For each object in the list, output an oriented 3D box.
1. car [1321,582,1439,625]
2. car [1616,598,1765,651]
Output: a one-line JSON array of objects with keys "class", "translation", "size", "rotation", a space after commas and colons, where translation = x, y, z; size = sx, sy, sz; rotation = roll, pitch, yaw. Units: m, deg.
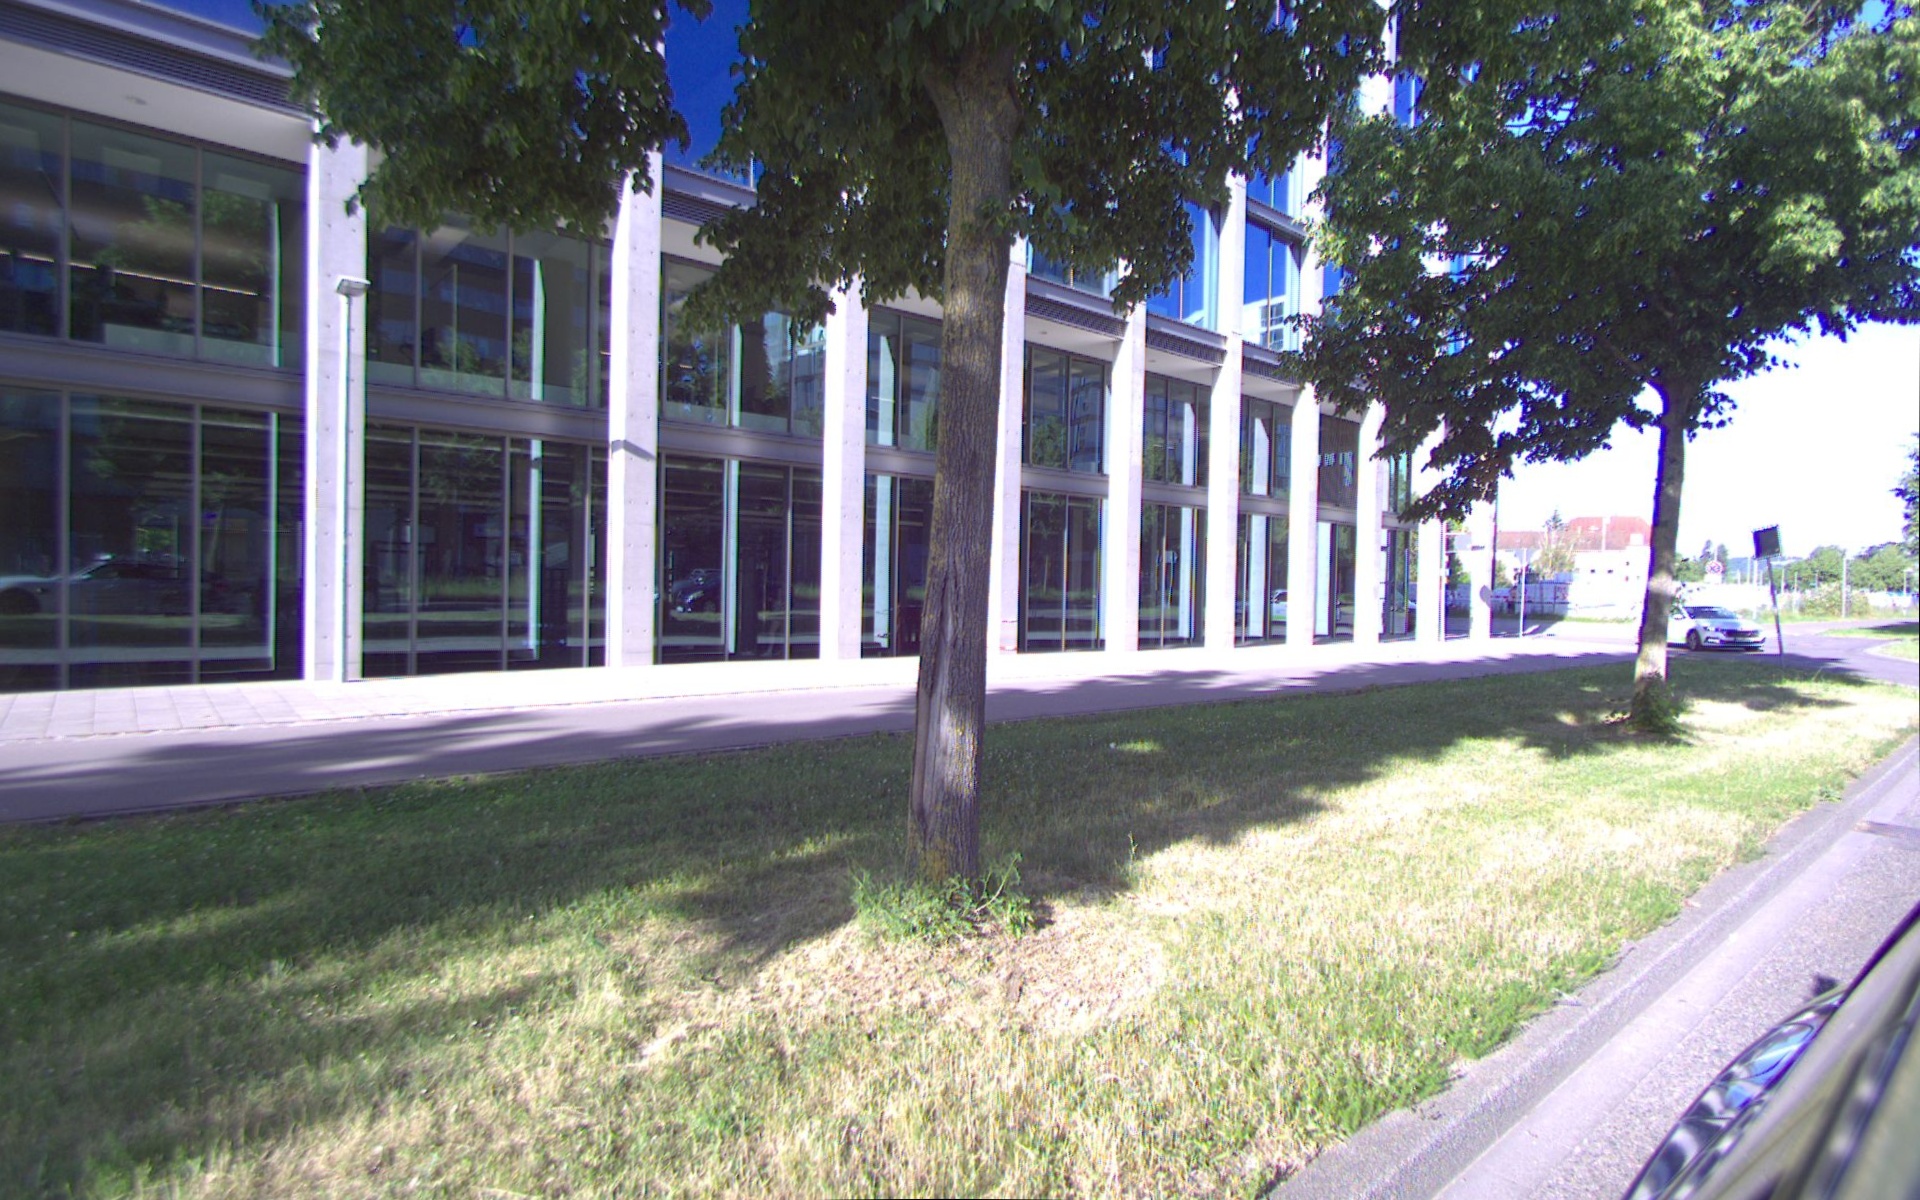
[{"class": "car", "translation": [17.137, 0.107, 41.439], "size": [1.963, 1.598, 3.998], "rotation": [0, 1, -38]}, {"class": "car", "translation": [23.075, 0.725, 32.201], "size": [1.774, 1.465, 4.561], "rotation": [1, 1, 6]}]
